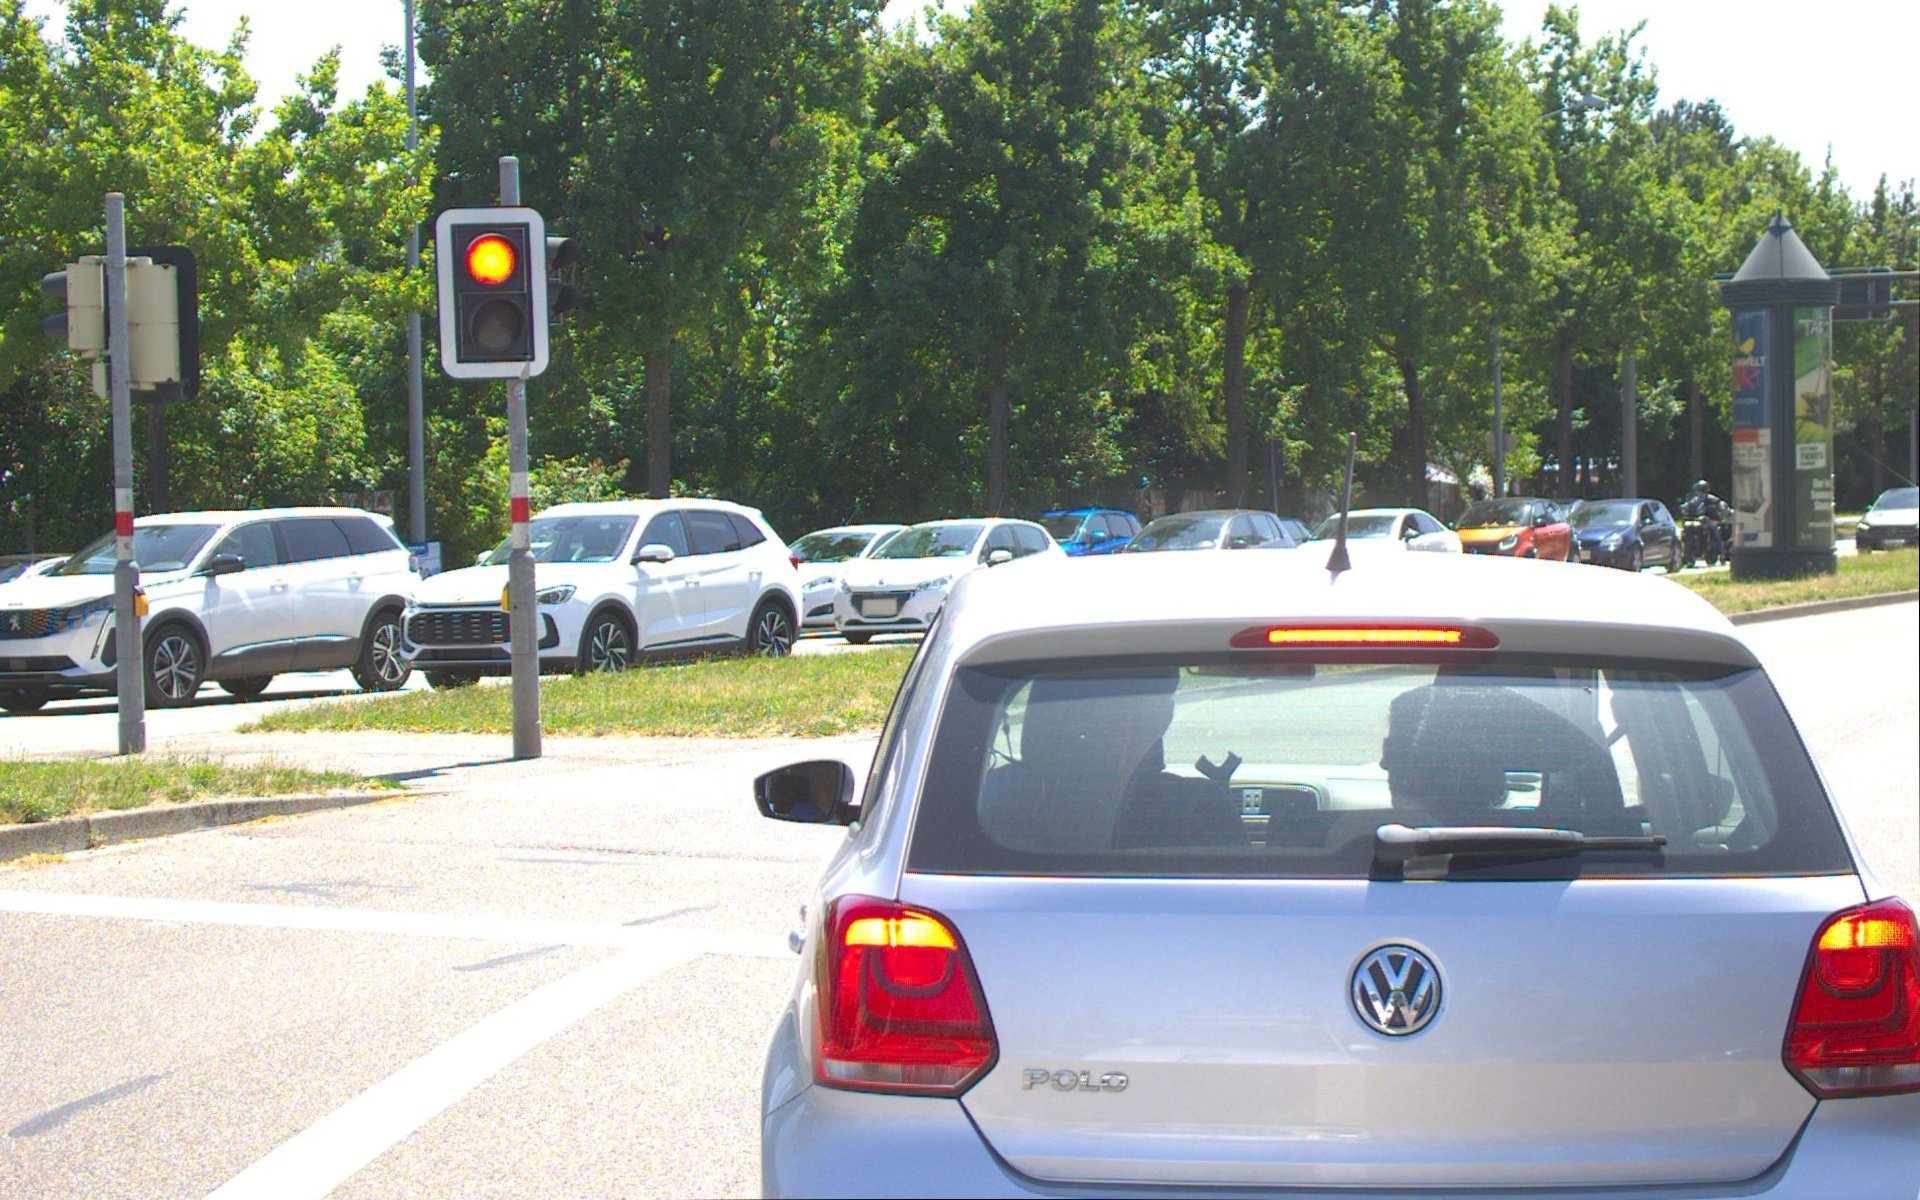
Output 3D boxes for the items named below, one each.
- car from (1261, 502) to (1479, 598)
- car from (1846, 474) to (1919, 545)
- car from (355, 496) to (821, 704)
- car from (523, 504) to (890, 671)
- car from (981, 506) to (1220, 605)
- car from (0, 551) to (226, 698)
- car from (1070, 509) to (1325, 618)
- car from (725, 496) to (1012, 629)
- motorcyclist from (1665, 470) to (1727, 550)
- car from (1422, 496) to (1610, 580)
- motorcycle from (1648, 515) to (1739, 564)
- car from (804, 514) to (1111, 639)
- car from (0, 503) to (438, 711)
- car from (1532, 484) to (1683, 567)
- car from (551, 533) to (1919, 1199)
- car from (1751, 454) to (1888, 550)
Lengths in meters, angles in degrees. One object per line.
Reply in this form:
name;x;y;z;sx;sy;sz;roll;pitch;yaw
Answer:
car;6.488;-0.808;54.002;1.861;1.417;4.401;0;2;29
car;20.405;-1.946;73.459;1.973;1.483;3.994;0;2;28
car;-3.177;-0.062;30.274;1.861;1.677;4.401;0;2;29
car;-2.686;-0.184;37.431;1.861;1.677;4.401;0;2;29
car;2.198;-0.713;52.555;1.861;1.417;4.401;0;2;29
car;-9.037;0.221;31.993;1.861;1.266;4.401;0;2;29
car;3.371;-0.546;48.012;1.861;1.417;4.401;0;2;29
car;-1.165;-0.544;46.238;1.861;1.677;4.401;0;2;29
motorcyclist;14.883;-1.813;69.533;0.907;1.581;1.008;-1;0;31
car;9.808;-1.109;60.410;1.861;1.417;4.401;0;2;29
motorcycle;14.826;-1.221;69.410;0.897;0.949;2.811;-1;1;31
car;0.039;-0.321;42.343;1.861;1.417;4.401;0;2;29
car;-6.592;-0.004;29.465;1.861;1.612;4.401;0;2;29
car;12.205;-1.400;64.636;1.718;1.470;3.791;-1;1;28
car;0.561;0.628;6.026;1.776;1.417;4.000;0;2;4
car;18.949;-2.145;75.695;1.996;2.007;3.994;-1;1;28
